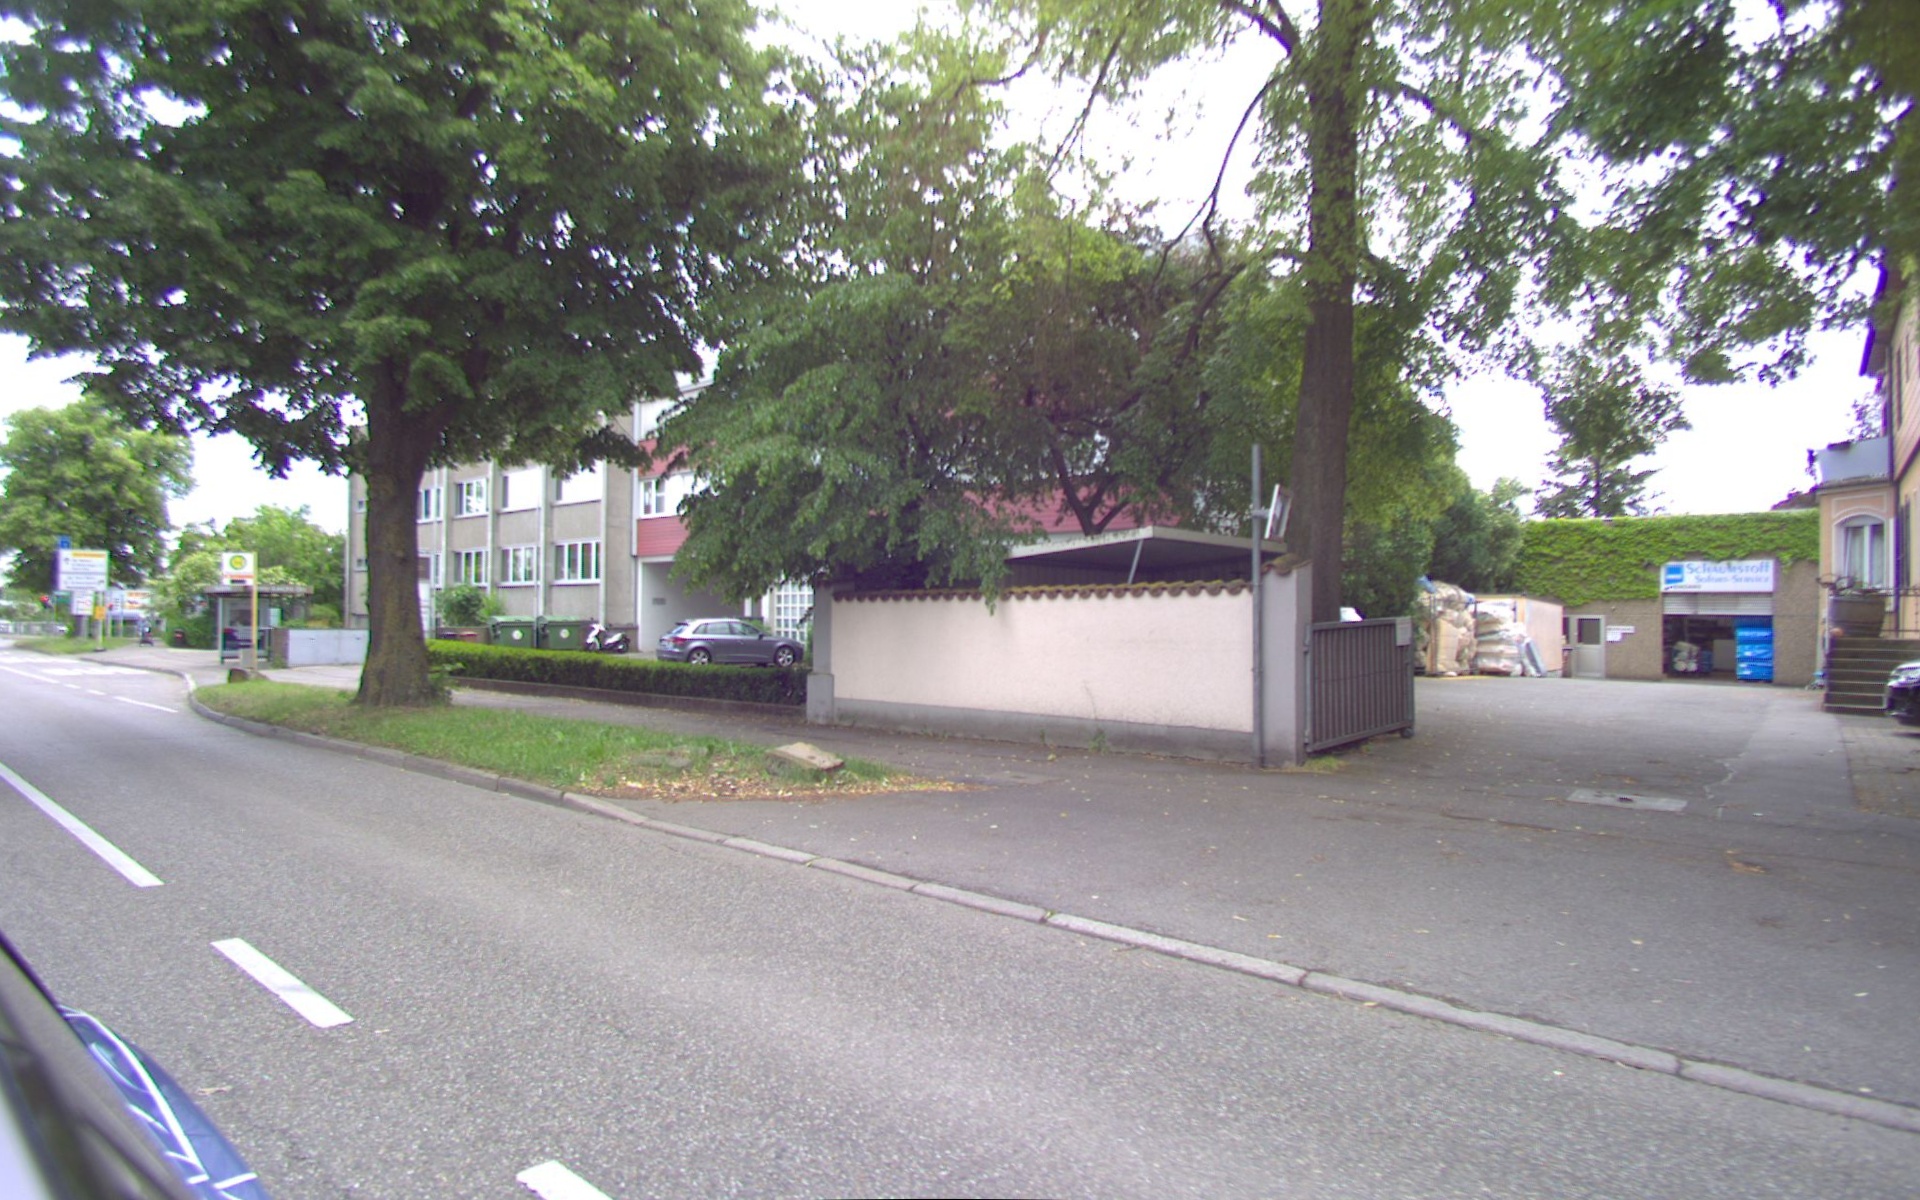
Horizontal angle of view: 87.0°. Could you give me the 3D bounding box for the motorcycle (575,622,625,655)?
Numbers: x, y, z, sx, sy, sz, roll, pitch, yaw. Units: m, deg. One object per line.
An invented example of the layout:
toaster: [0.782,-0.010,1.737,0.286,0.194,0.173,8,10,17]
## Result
motorcycle: [-13.218,1.412,37.193,0.639,1.148,1.624,0,0,41]

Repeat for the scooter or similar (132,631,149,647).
scooter or similar: [-42.310,2.009,52.256,0.598,0.792,0.861,0,0,-32]

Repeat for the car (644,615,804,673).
car: [-6.732,1.195,28.964,4.082,1.490,1.817,0,0,-35]

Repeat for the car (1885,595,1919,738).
car: [13.034,0.764,11.220,3.997,1.652,1.763,0,0,40]

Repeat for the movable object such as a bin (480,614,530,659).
movable object such as a bin: [-15.510,1.232,34.499,0.992,1.476,1.285,0,0,41]

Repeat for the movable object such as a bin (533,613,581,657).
movable object such as a bin: [-14.268,1.223,35.860,0.884,1.476,1.347,0,0,41]

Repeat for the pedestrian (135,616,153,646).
pedestrian: [-42.812,1.616,53.101,0.662,1.570,0.521,0,0,-32]

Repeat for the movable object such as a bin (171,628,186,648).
movable object such as a bin: [-38.971,1.891,50.477,0.558,0.934,0.609,1,-1,-33]
